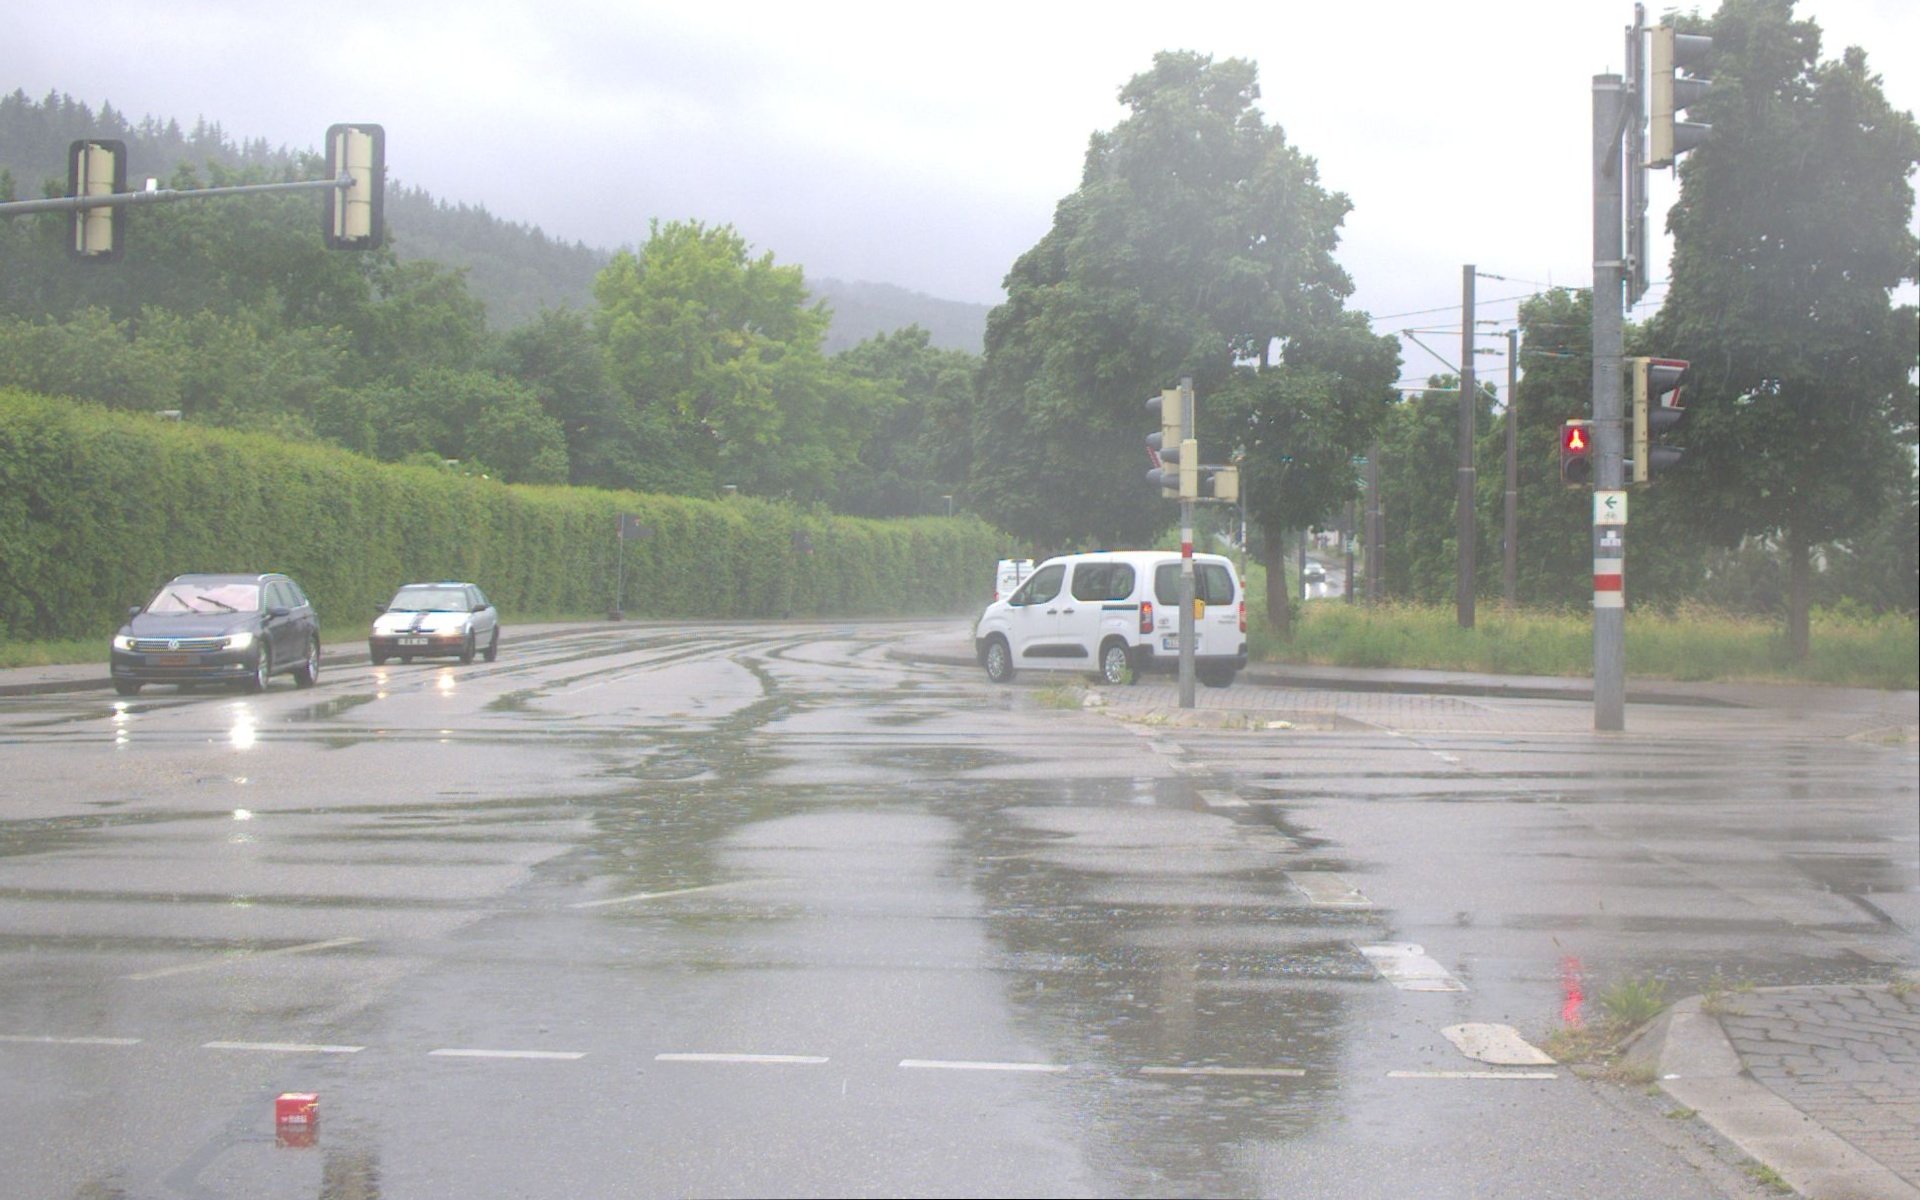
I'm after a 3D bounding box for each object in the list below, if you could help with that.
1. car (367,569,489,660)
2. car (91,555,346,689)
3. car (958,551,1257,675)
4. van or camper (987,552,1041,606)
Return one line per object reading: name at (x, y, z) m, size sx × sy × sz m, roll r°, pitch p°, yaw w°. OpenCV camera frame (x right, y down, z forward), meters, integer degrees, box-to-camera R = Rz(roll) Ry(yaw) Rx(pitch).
car at (-9.068, 0.224, 58.774) m, size 1.558 × 1.476 × 3.361 m, roll 1°, pitch 1°, yaw 0°
car at (-9.352, 0.237, 43.758) m, size 1.879 × 1.568 × 4.644 m, roll -2°, pitch 1°, yaw 5°
car at (1.911, 0.133, 45.890) m, size 1.817 × 1.548 × 4.348 m, roll -1°, pitch 1°, yaw -33°
van or camper at (2.232, -0.897, 142.977) m, size 2.153 × 2.162 × 4.865 m, roll 1°, pitch 1°, yaw 0°
